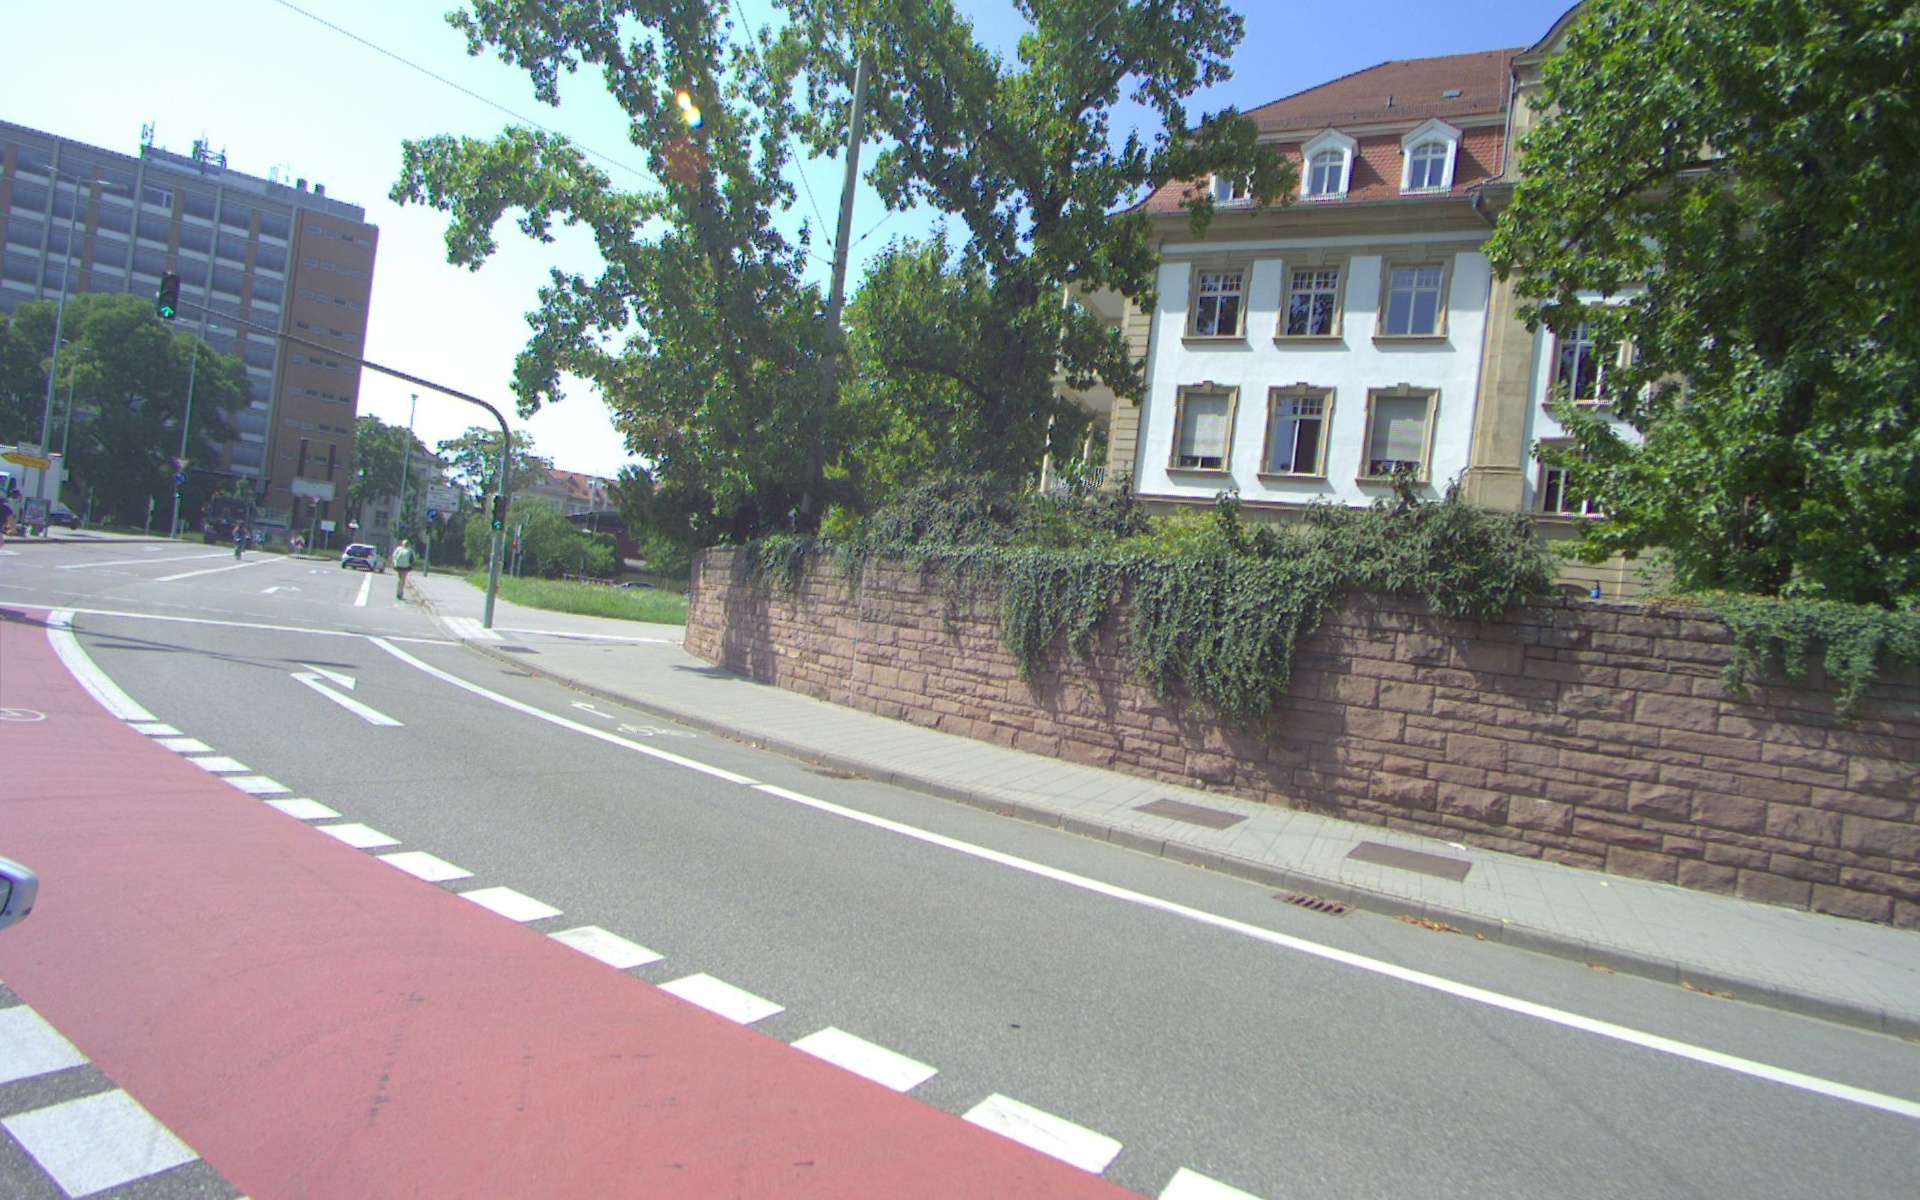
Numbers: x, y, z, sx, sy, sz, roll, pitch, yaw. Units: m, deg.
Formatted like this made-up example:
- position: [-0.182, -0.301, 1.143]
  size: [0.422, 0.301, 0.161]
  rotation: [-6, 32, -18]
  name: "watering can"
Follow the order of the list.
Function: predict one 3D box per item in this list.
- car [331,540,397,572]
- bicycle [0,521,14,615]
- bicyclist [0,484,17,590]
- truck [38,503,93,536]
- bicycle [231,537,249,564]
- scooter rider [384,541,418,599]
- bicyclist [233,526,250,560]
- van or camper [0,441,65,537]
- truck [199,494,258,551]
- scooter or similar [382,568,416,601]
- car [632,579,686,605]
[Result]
- position: [-33.851, -2.484, 57.230]
  size: [1.818, 1.408, 3.993]
  rotation: [7, -1, -10]
  name: "car"
- position: [-12.747, -0.451, 13.012]
  size: [0.602, 1.177, 1.789]
  rotation: [7, -1, -42]
  name: "bicycle"
- position: [-12.661, -0.849, 12.978]
  size: [0.601, 1.351, 0.651]
  rotation: [7, 0, -44]
  name: "bicyclist"
- position: [-49.426, -4.445, 55.658]
  size: [1.544, 1.522, 3.591]
  rotation: [7, -1, -32]
  name: "truck"
- position: [-31.884, -2.175, 44.565]
  size: [0.441, 1.130, 1.434]
  rotation: [6, 0, -31]
  name: "bicycle"
- position: [-18.230, -0.976, 32.814]
  size: [0.755, 1.797, 0.551]
  rotation: [7, 0, -26]
  name: "scooter rider"
- position: [-31.886, -2.533, 44.633]
  size: [0.446, 1.439, 0.491]
  rotation: [6, 0, -32]
  name: "bicyclist"
- position: [-37.465, -4.336, 39.044]
  size: [2.382, 3.346, 7.135]
  rotation: [7, -1, -30]
  name: "van or camper"
- position: [-46.615, -4.876, 64.203]
  size: [2.682, 3.024, 5.910]
  rotation: [8, -2, -36]
  name: "truck"
- position: [-18.249, -0.505, 32.763]
  size: [0.765, 0.937, 1.610]
  rotation: [8, -1, -26]
  name: "scooter or similar"
- position: [-25.157, -0.656, 84.098]
  size: [3.955, 1.584, 1.810]
  rotation: [8, -1, -29]
  name: "car"
